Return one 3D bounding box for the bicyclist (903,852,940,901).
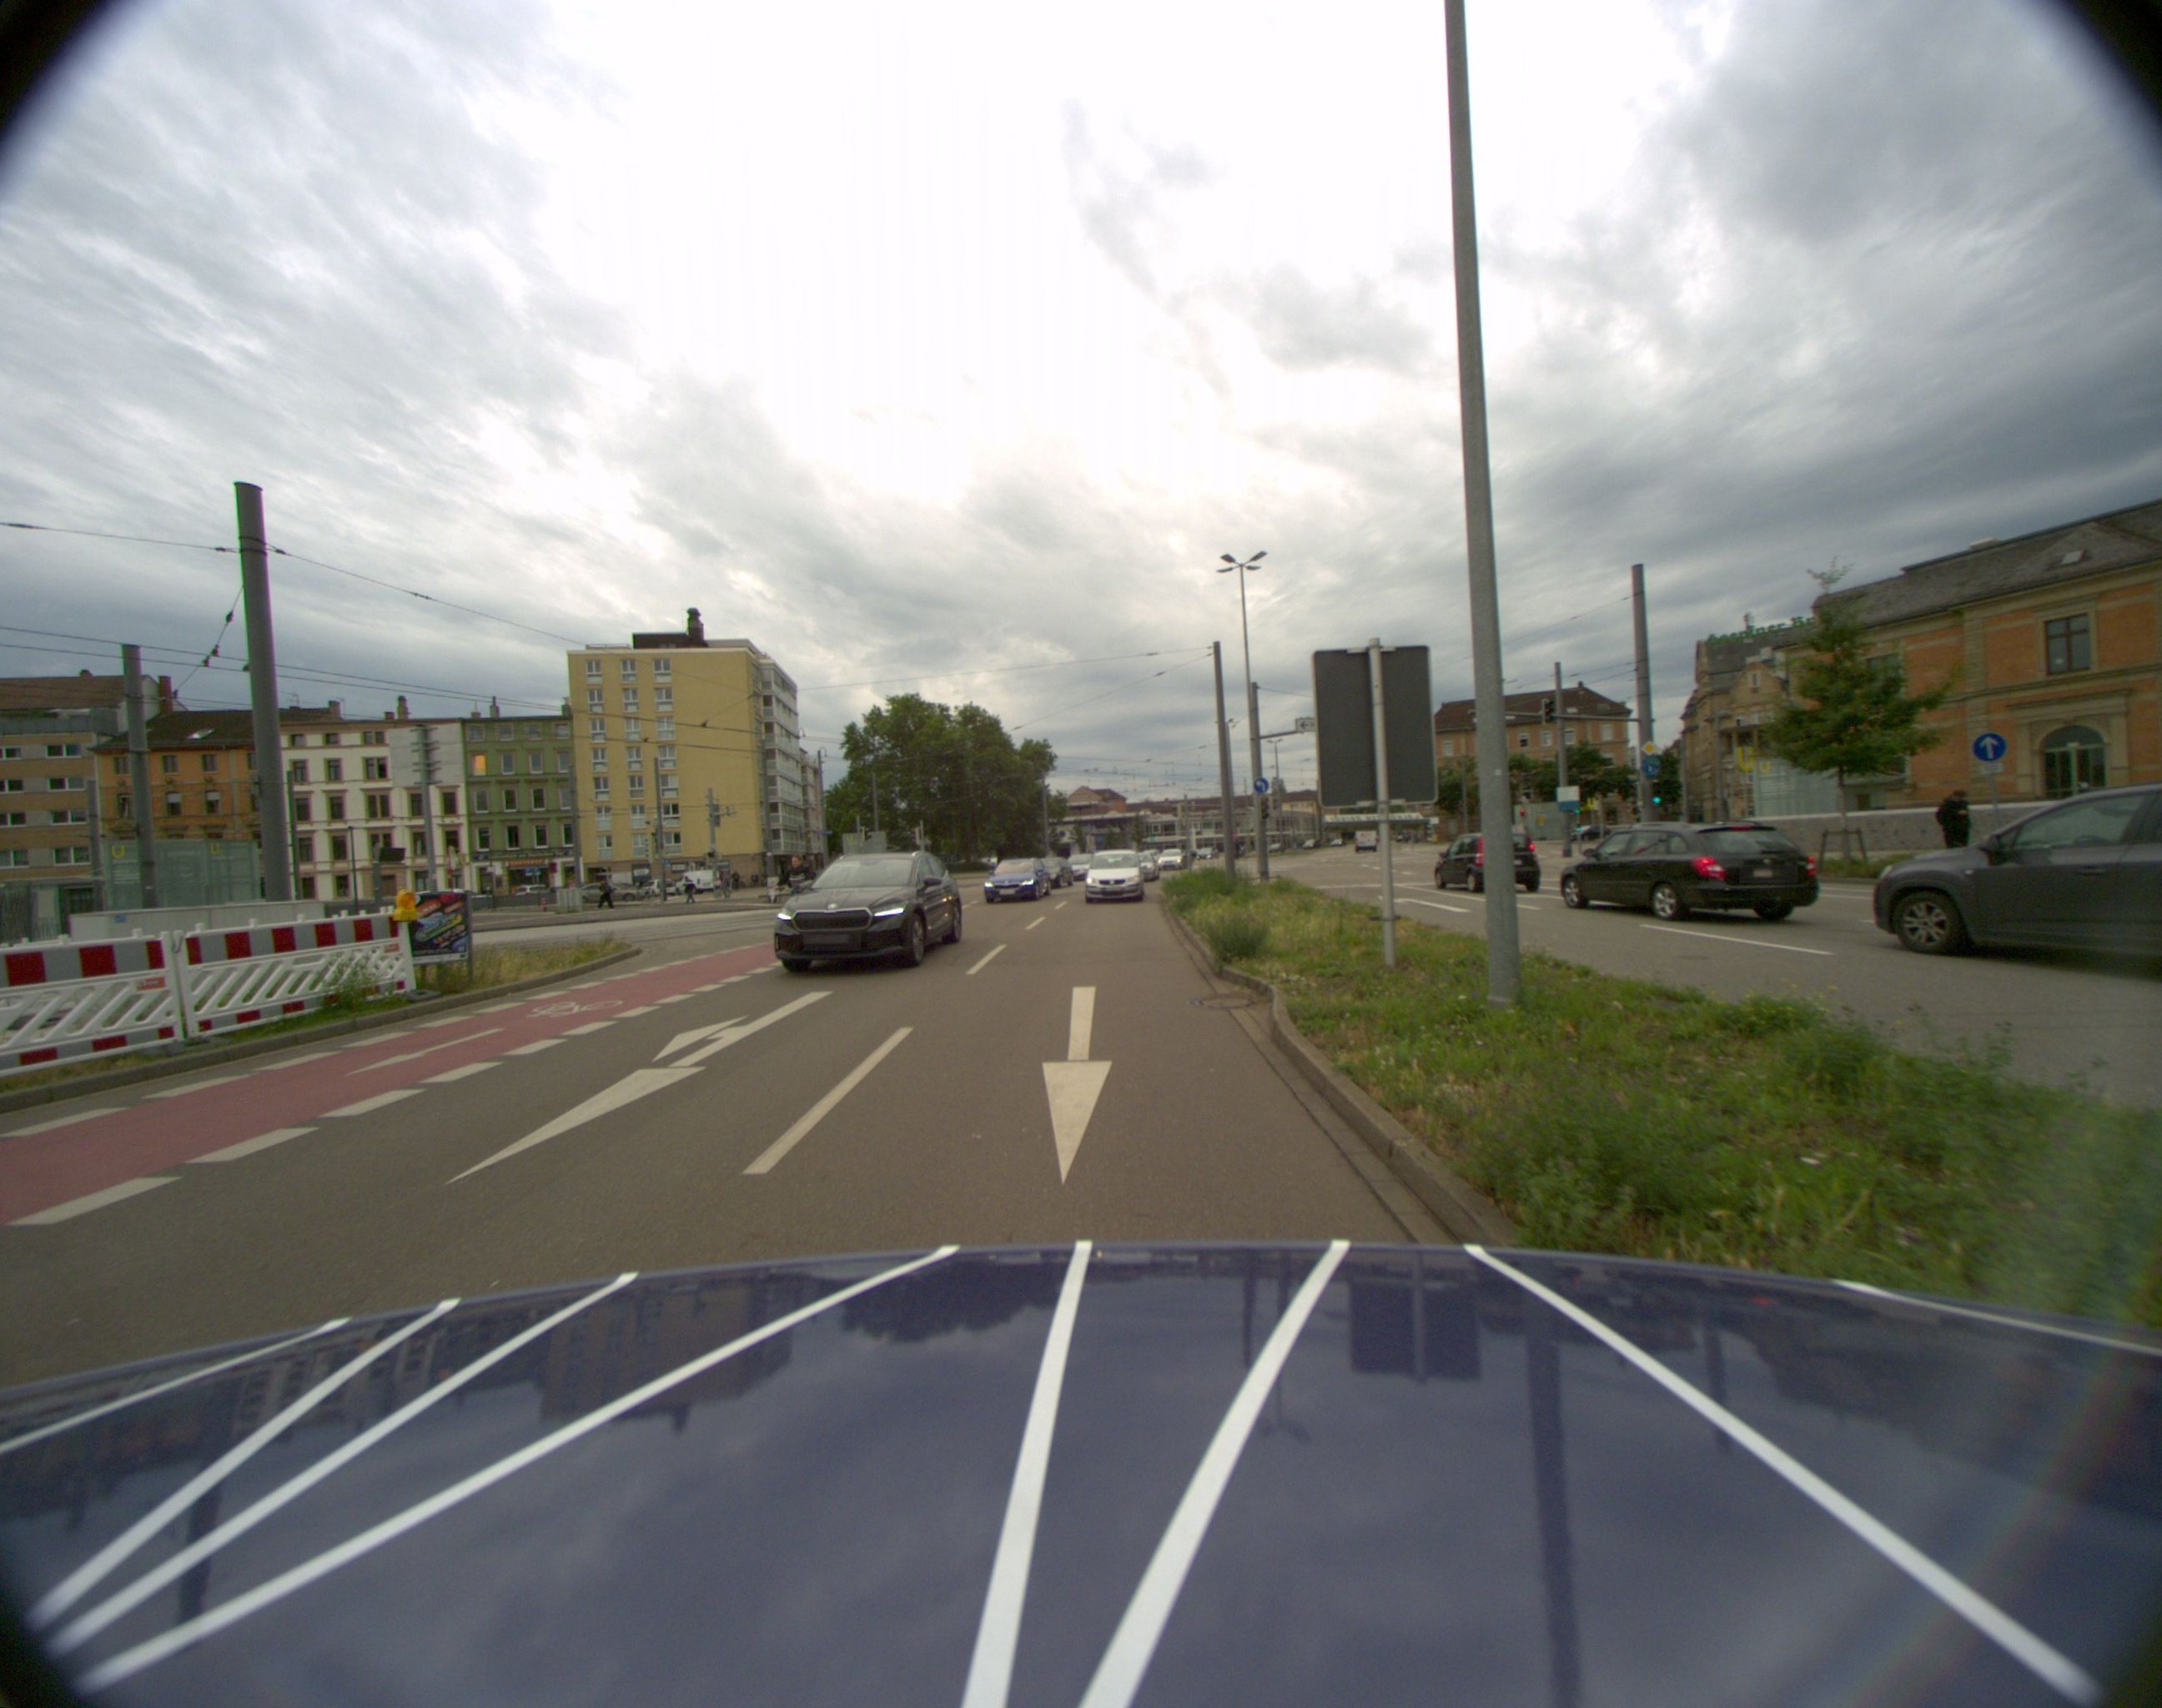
[{"bbox_3d":[-5.567,0.768,26.539,0.790,1.608,0.934,-4,0,19],"label":"bicyclist"}]

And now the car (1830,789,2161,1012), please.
[{"bbox_3d":[9.226,0.328,6.138,1.875,1.715,4.713,-2,0,3],"label":"car"}]

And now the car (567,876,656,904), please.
[{"bbox_3d":[-30.396,2.299,49.317,4.444,1.477,1.999,-3,1,-6],"label":"car"}]

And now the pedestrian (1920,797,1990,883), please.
[{"bbox_3d":[20.632,-0.329,17.952,0.820,1.969,0.659,-2,0,10],"label":"pedestrian"}]

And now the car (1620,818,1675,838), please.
[{"bbox_3d":[56.653,-2.638,75.960,4.929,1.704,2.159,-3,0,-22],"label":"car"}]

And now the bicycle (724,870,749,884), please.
[{"bbox_3d":[-32.480,2.183,71.646,2.040,1.162,0.669,-2,0,-11],"label":"bicycle"}]

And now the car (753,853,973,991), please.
[{"bbox_3d":[-3.073,0.852,11.836,1.908,1.648,4.515,-3,0,2],"label":"car"}]

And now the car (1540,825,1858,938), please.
[{"bbox_3d":[9.624,0.361,12.429,1.874,1.499,4.480,-1,0,5],"label":"car"}]

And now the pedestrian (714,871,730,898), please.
[{"bbox_3d":[-22.523,1.904,47.675,0.769,1.602,0.949,-3,1,-31],"label":"pedestrian"}]

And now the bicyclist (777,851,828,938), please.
[{"bbox_3d":[-5.648,0.804,15.425,0.617,1.680,0.806,-3,0,3],"label":"bicyclist"}]

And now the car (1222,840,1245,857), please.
[{"bbox_3d":[20.062,-0.768,99.688,1.995,2.002,4.006,-3,0,24],"label":"car"}]

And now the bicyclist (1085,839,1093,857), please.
[{"bbox_3d":[0.752,-0.603,73.579,0.734,1.741,0.585,0,1,-5],"label":"bicyclist"}]

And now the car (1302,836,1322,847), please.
[{"bbox_3d":[39.237,-2.171,129.084,2.368,1.744,5.138,-3,0,27],"label":"car"}]

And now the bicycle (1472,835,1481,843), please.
[{"bbox_3d":[49.143,-1.853,94.446,0.753,1.024,2.400,-3,0,24],"label":"bicycle"}]

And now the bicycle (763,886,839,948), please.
[{"bbox_3d":[-5.629,1.241,15.440,0.626,1.049,2.126,-3,0,2],"label":"bicycle"}]

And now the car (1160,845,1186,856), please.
[{"bbox_3d":[14.890,-0.561,122.770,3.900,1.433,1.734,-3,0,14],"label":"car"}]

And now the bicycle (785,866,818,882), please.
[{"bbox_3d":[-26.829,1.935,72.990,2.783,1.369,0.903,-3,1,-6],"label":"bicycle"}]

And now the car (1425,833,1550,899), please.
[{"bbox_3d":[10.457,0.277,19.848,1.621,1.506,3.666,-2,0,6],"label":"car"}]

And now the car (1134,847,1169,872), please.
[{"bbox_3d":[6.319,0.474,68.189,1.996,2.002,4.005,-3,0,21],"label":"car"}]

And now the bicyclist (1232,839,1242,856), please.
[{"bbox_3d":[15.397,-0.596,75.031,0.655,1.630,0.517,-3,1,-15],"label":"bicyclist"}]

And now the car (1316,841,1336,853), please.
[{"bbox_3d":[46.008,-1.332,142.575,2.368,2.121,5.138,-3,0,33],"label":"car"}]

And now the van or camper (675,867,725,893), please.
[{"bbox_3d":[-31.985,2.179,63.684,2.176,1.967,5.452,-4,1,-43],"label":"van or camper"}]

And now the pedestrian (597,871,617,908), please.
[{"bbox_3d":[-25.457,1.905,40.792,0.785,1.901,0.902,-3,1,-31],"label":"pedestrian"}]

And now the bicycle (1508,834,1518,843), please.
[{"bbox_3d":[52.664,-1.929,92.645,0.753,1.024,2.400,-3,0,24],"label":"bicycle"}]

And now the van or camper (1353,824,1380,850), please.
[{"bbox_3d":[30.160,-1.758,80.298,2.282,2.513,5.580,-2,0,17],"label":"van or camper"}]

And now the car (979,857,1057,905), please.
[{"bbox_3d":[-2.139,0.903,27.022,1.769,1.428,4.759,-3,0,7],"label":"car"}]

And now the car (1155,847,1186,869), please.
[{"bbox_3d":[6.429,0.268,54.474,1.971,1.447,4.195,-3,0,9],"label":"car"}]

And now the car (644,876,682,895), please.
[{"bbox_3d":[-34.843,2.600,63.363,1.739,1.409,3.728,-4,1,-45],"label":"car"}]

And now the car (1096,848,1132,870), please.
[{"bbox_3d":[2.455,0.348,56.194,1.997,1.499,4.003,-3,0,11],"label":"car"}]

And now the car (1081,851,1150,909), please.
[{"bbox_3d":[1.211,0.736,24.312,1.862,1.609,5.064,-2,0,6],"label":"car"}]

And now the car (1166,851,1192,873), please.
[{"bbox_3d":[9.783,0.759,75.606,1.996,2.002,4.004,-3,0,15],"label":"car"}]

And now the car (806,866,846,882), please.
[{"bbox_3d":[-27.822,2.154,83.004,4.002,1.455,1.997,-3,0,-15],"label":"car"}]

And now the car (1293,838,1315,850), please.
[{"bbox_3d":[39.256,-1.763,133.778,2.368,1.899,5.138,-3,0,33],"label":"car"}]

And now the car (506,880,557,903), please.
[{"bbox_3d":[-43.572,2.978,60.243,3.729,1.578,1.739,-3,1,28],"label":"car"}]

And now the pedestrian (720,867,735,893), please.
[{"bbox_3d":[-24.662,1.779,53.051,0.789,1.747,1.047,-3,1,-30],"label":"pedestrian"}]

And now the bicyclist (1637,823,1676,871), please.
[{"bbox_3d":[21.277,-0.244,28.112,0.814,1.645,0.795,-3,-4,14],"label":"bicyclist"}]

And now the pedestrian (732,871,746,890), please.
[{"bbox_3d":[-31.610,2.439,70.178,0.906,1.727,0.813,-2,0,-7],"label":"pedestrian"}]

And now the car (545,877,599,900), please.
[{"bbox_3d":[-40.995,2.788,61.159,3.729,1.574,1.894,-3,4,28],"label":"car"}]

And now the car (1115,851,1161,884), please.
[{"bbox_3d":[2.798,0.604,36.514,1.808,1.398,3.985,-3,0,10],"label":"car"}]

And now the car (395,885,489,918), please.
[{"bbox_3d":[-40.109,2.950,47.748,3.999,1.740,1.999,-3,1,-6],"label":"car"}]

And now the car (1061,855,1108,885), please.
[{"bbox_3d":[0.251,0.867,42.873,1.707,1.474,3.937,-4,0,13],"label":"car"}]

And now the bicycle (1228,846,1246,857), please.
[{"bbox_3d":[15.436,-0.256,75.063,1.615,1.064,0.527,-3,1,-15],"label":"bicycle"}]

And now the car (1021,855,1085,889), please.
[{"bbox_3d":[-1.224,0.811,35.463,1.768,1.362,4.427,-2,0,15],"label":"car"}]

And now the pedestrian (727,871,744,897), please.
[{"bbox_3d":[-21.780,1.884,47.899,0.785,1.593,0.895,-3,1,-31],"label":"pedestrian"}]

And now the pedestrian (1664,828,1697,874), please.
[{"bbox_3d":[20.553,-0.099,26.063,0.579,1.542,0.749,-2,0,9],"label":"pedestrian"}]

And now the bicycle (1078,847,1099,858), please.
[{"bbox_3d":[0.738,-0.181,73.601,1.992,0.993,0.579,-1,3,-4],"label":"bicycle"}]

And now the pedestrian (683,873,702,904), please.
[{"bbox_3d":[-21.684,1.906,42.384,0.785,1.634,0.902,-3,1,-31],"label":"pedestrian"}]

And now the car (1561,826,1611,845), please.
[{"bbox_3d":[49.830,-1.851,75.011,4.249,1.601,1.996,-3,0,-23],"label":"car"}]

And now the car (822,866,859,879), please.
[{"bbox_3d":[-27.947,2.155,88.248,4.002,1.327,1.834,-2,0,-17],"label":"car"}]

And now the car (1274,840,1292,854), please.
[{"bbox_3d":[31.056,-1.086,116.912,1.995,2.002,4.006,-3,0,24],"label":"car"}]

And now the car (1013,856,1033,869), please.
[{"bbox_3d":[-9.498,1.333,124.705,1.954,1.589,4.228,-3,6,12],"label":"car"}]

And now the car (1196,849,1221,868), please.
[{"bbox_3d":[14.774,0.525,87.951,1.996,2.002,4.005,-3,0,21],"label":"car"}]
